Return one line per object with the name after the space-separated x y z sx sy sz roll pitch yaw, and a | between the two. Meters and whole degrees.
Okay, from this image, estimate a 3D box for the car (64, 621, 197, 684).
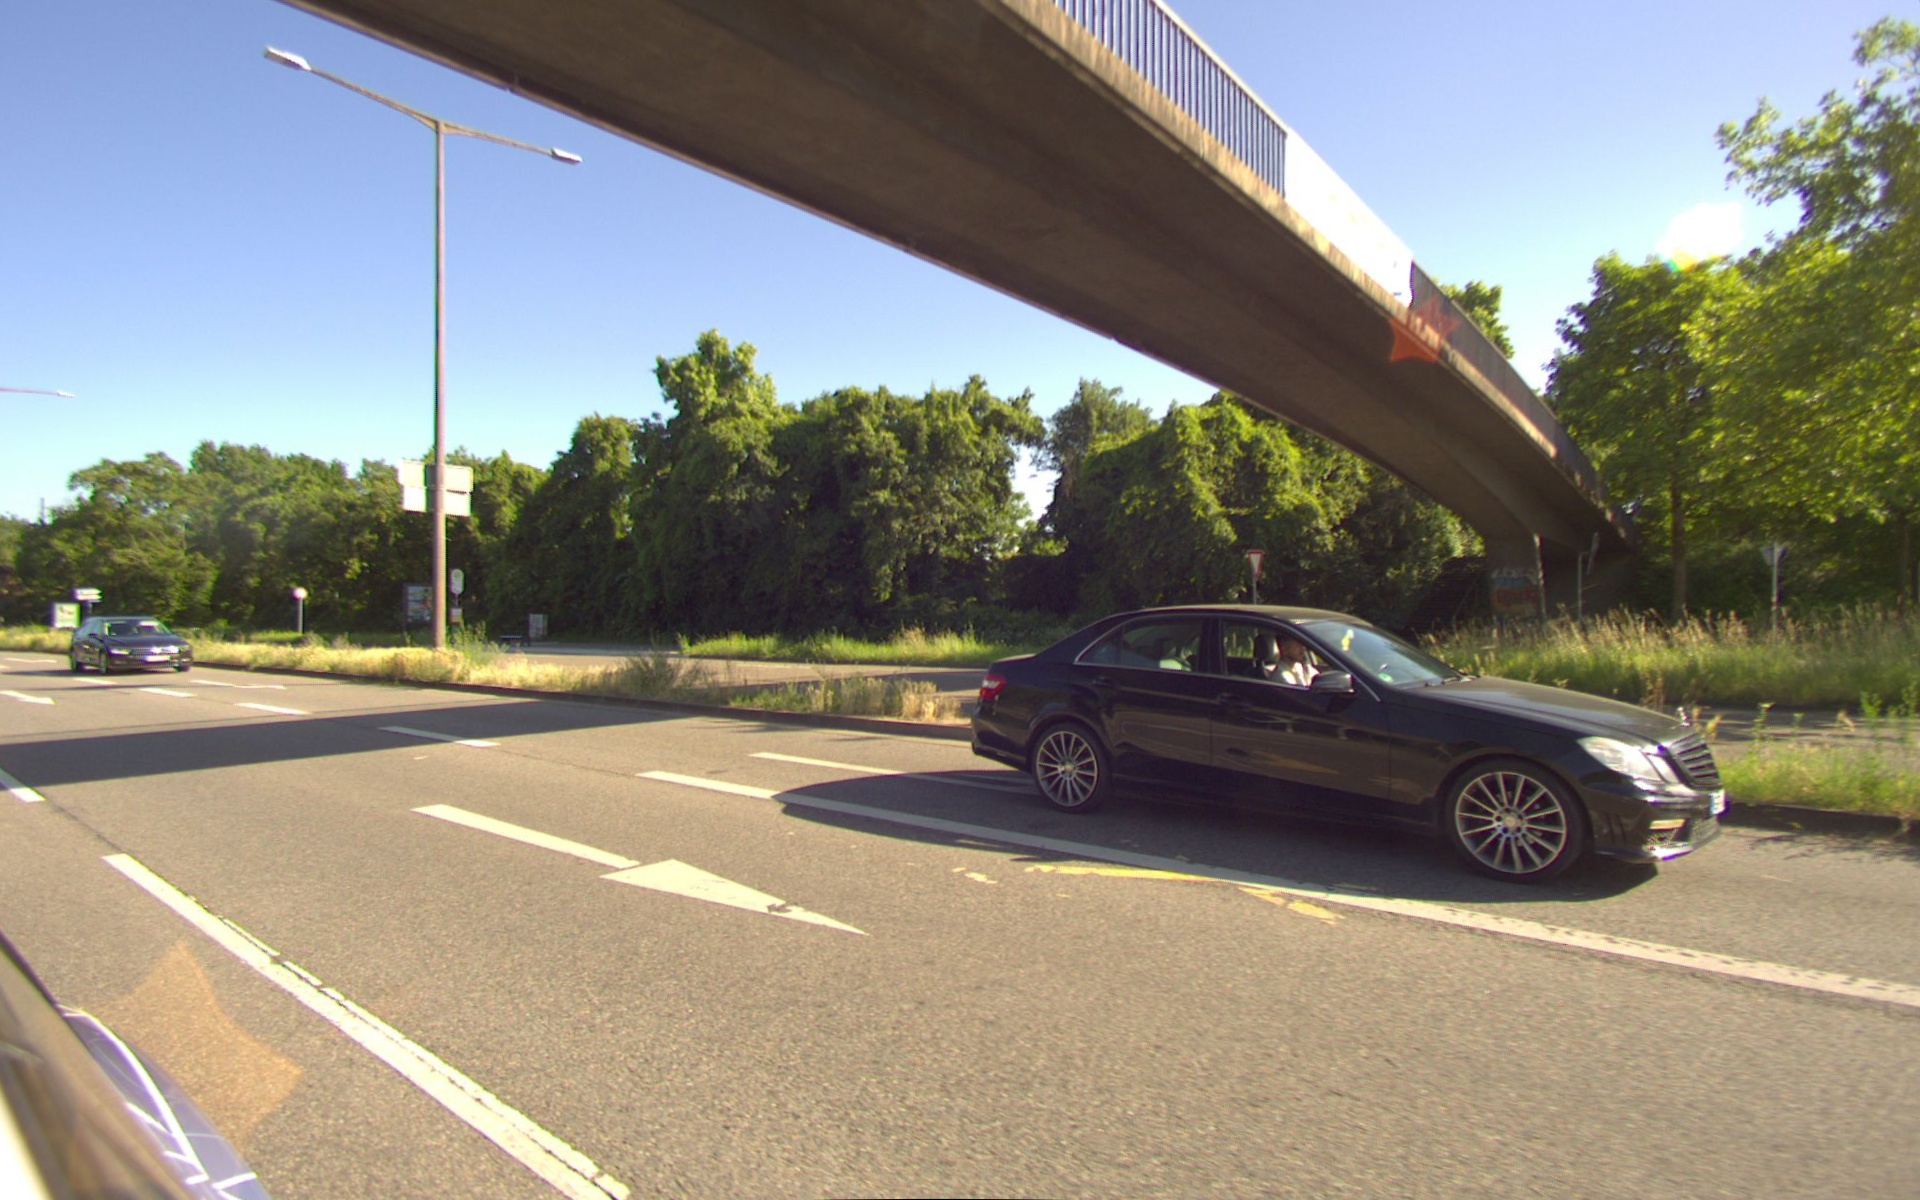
-21.840 1.345 26.609 3.993 1.507 1.775 -2 -1 36 | car

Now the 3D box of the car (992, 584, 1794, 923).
2.510 0.726 6.673 4.528 1.498 1.755 -2 -1 42 | car
